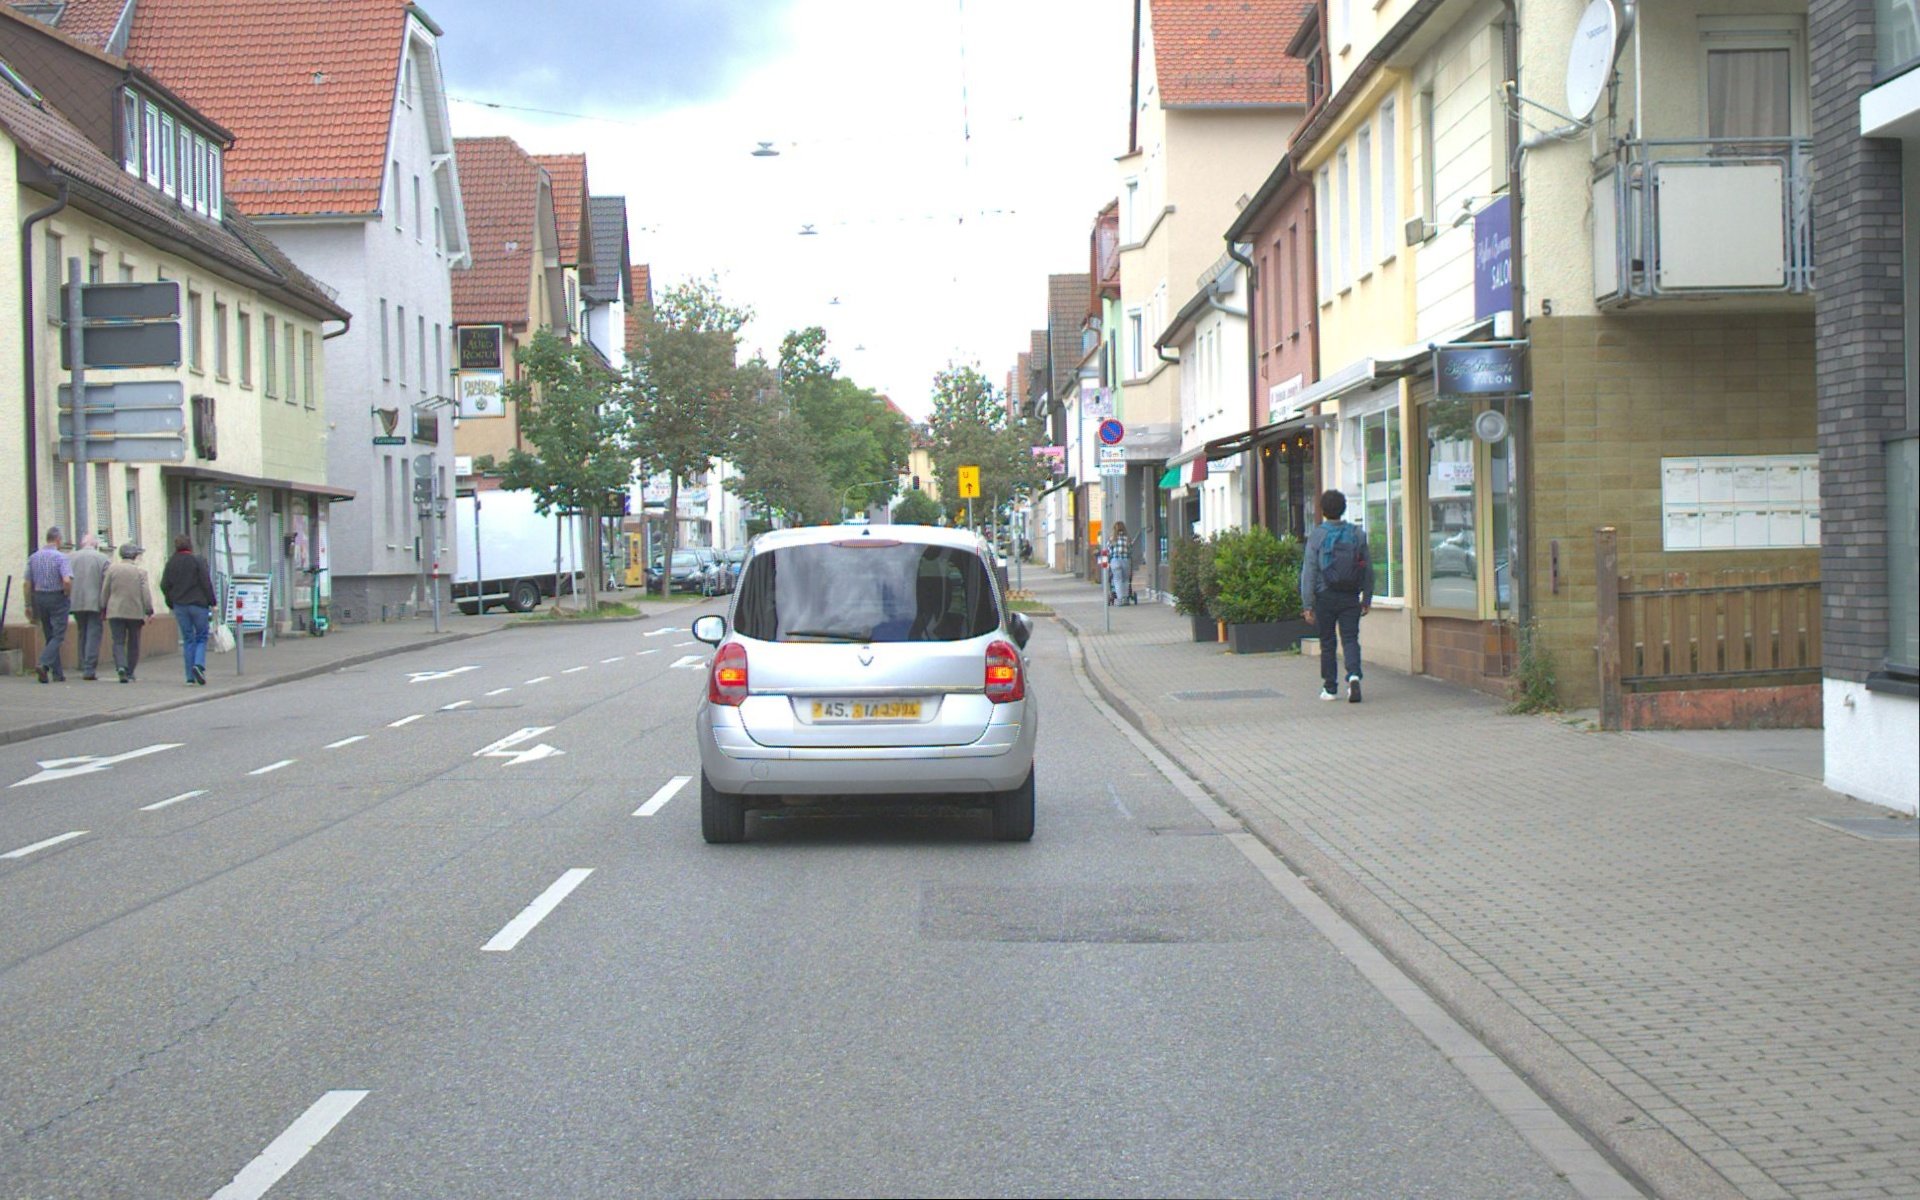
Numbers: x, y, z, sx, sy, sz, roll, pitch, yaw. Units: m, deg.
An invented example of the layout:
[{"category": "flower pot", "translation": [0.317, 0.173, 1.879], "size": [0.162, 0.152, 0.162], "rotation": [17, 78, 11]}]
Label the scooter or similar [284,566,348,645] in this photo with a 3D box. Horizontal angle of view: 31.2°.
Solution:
[{"category": "scooter or similar", "translation": [-10.966, 0.073, 58.587], "size": [0.575, 1.265, 2.548], "rotation": [-3, 1, 0]}]

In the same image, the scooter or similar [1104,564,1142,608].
[{"category": "scooter or similar", "translation": [3.400, -0.297, 71.737], "size": [0.680, 0.830, 0.823], "rotation": [-5, 1, 0]}]

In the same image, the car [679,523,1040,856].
[{"category": "car", "translation": [-0.520, 0.386, 18.306], "size": [1.706, 1.573, 4.000], "rotation": [0, 1, -1]}]

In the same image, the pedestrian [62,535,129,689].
[{"category": "pedestrian", "translation": [-9.926, 0.126, 39.488], "size": [0.579, 1.751, 0.688], "rotation": [0, 1, 0]}]

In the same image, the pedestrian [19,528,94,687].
[{"category": "pedestrian", "translation": [-10.075, 0.072, 38.342], "size": [0.648, 1.751, 0.688], "rotation": [0, 1, 0]}]

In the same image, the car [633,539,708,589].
[{"category": "car", "translation": [-8.494, -1.076, 101.115], "size": [1.812, 1.349, 4.000], "rotation": [-3, 1, 0]}]

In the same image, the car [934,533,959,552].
[{"category": "car", "translation": [-1.029, -4.292, 256.260], "size": [1.812, 1.349, 4.000], "rotation": [-3, 1, 0]}]

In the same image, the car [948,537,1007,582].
[{"category": "car", "translation": [0.548, -1.323, 111.507], "size": [1.812, 1.349, 4.000], "rotation": [-3, 1, 0]}]

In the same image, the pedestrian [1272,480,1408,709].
[{"category": "pedestrian", "translation": [3.099, -0.052, 28.131], "size": [0.889, 1.780, 0.785], "rotation": [-5, 1, 0]}]

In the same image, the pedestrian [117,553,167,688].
[{"category": "pedestrian", "translation": [-9.353, 0.231, 39.325], "size": [0.426, 1.520, 0.553], "rotation": [0, 1, 0]}]

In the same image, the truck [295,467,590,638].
[{"category": "truck", "translation": [-12.522, -1.198, 83.618], "size": [2.602, 3.844, 6.832], "rotation": [-2, 2, 42]}]

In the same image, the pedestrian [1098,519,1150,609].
[{"category": "pedestrian", "translation": [3.375, -0.744, 70.908], "size": [0.889, 1.780, 0.785], "rotation": [-5, 1, 0]}]

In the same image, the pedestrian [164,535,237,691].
[{"category": "pedestrian", "translation": [-8.628, 0.144, 39.080], "size": [0.662, 1.751, 0.688], "rotation": [0, 1, 0]}]

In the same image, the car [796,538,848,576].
[{"category": "car", "translation": [-5.339, -1.670, 133.310], "size": [1.812, 1.349, 3.857], "rotation": [-3, 1, 0]}]

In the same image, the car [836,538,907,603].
[{"category": "car", "translation": [-2.197, -0.757, 85.713], "size": [1.706, 1.573, 4.000], "rotation": [0, 1, -1]}]
